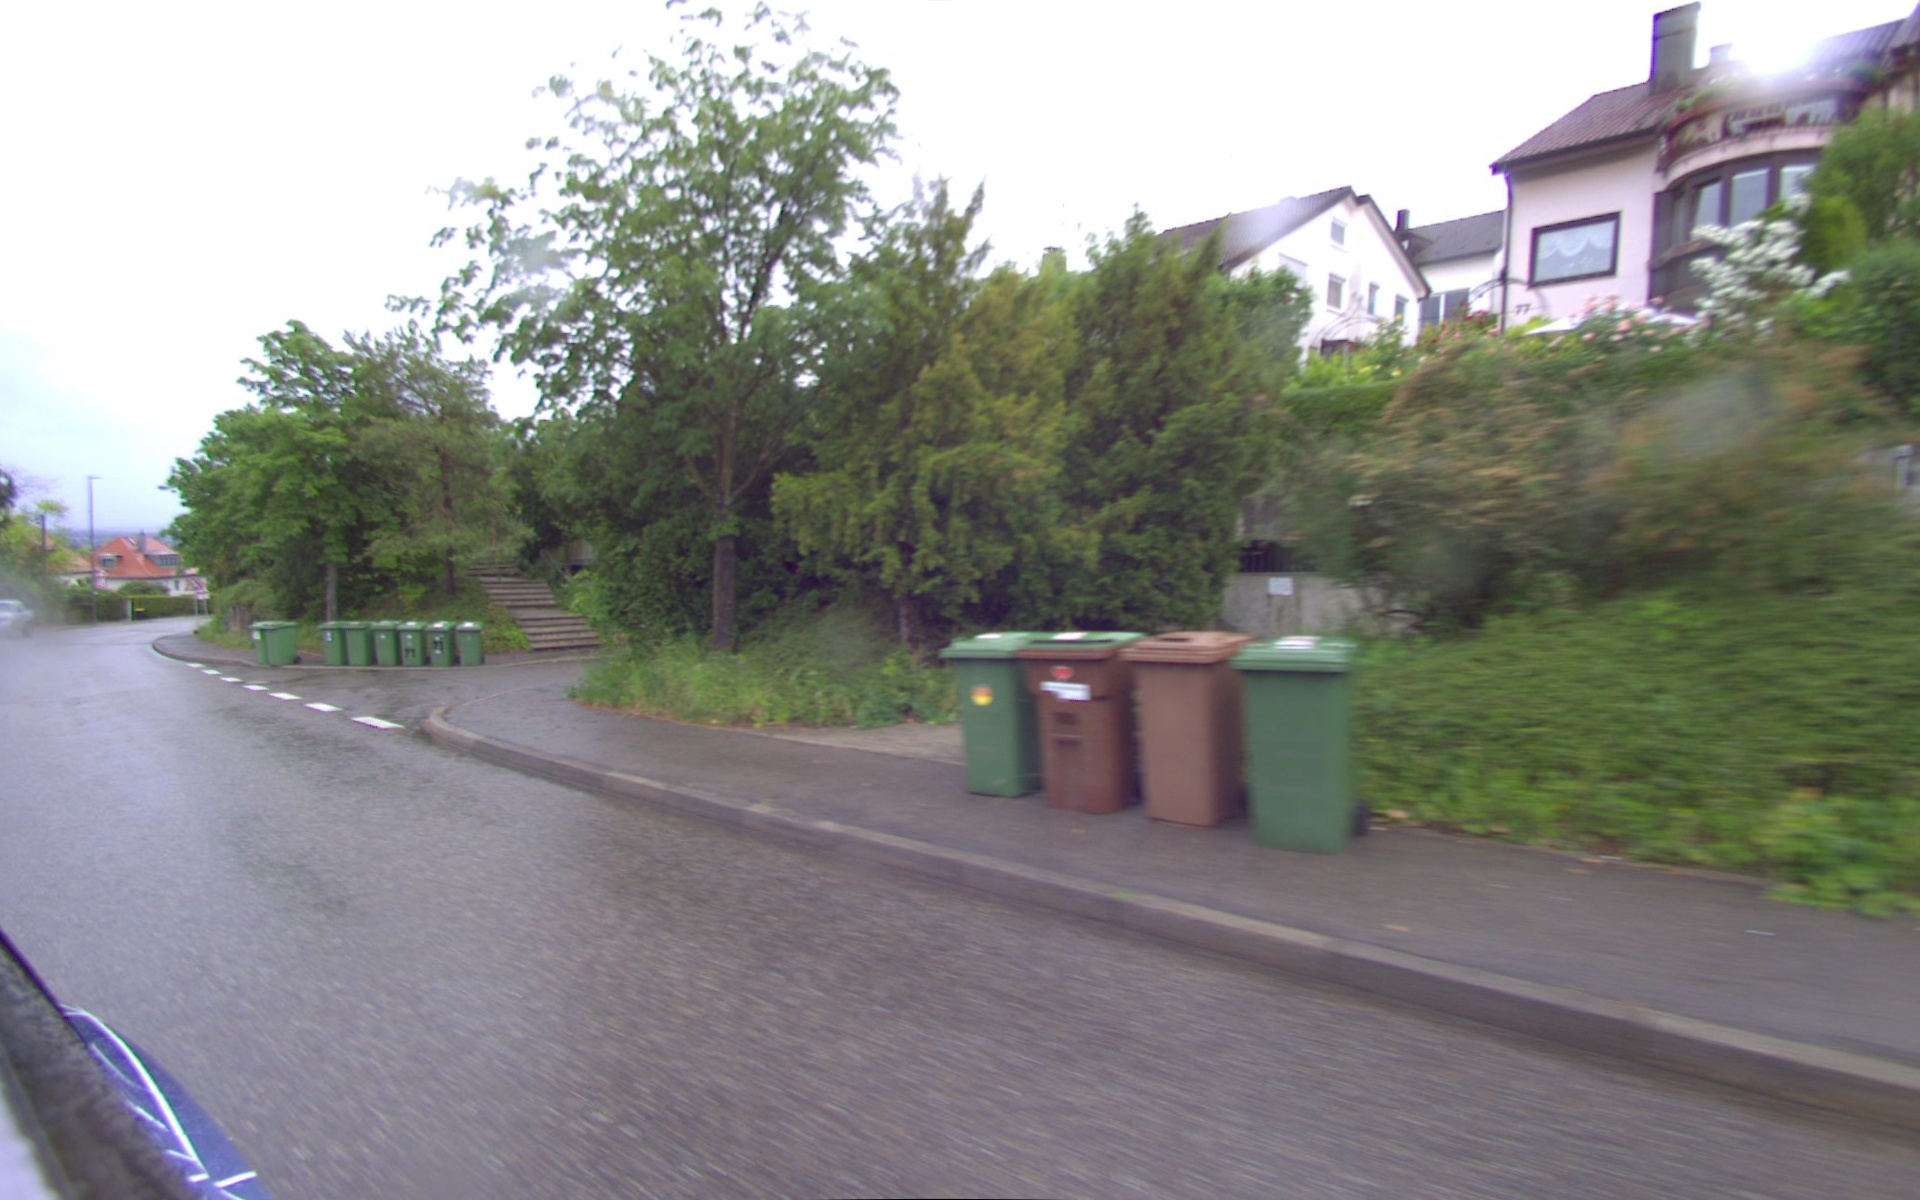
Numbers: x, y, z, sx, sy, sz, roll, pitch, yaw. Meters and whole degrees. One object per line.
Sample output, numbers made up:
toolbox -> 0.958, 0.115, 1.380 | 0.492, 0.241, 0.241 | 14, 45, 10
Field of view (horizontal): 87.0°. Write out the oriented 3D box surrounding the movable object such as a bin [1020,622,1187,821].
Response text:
movable object such as a bin -> 0.890, 0.697, 6.247 | 0.737, 1.105, 0.761 | -1, -1, 38

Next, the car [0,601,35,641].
car -> -45.753, 0.988, 48.076 | 1.839, 1.832, 4.875 | 0, -1, -33

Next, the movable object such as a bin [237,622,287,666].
movable object such as a bin -> -17.758, 1.105, 25.754 | 0.715, 1.035, 0.774 | -1, 2, 23

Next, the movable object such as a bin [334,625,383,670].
movable object such as a bin -> -14.948, 1.176, 25.170 | 0.709, 1.035, 0.780 | -1, 2, 1

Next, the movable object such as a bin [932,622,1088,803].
movable object such as a bin -> 0.340, 0.702, 6.758 | 0.737, 1.105, 0.761 | -1, -1, 38

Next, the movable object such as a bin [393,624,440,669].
movable object such as a bin -> -13.486, 1.155, 25.133 | 0.709, 1.035, 0.780 | -1, 2, 1

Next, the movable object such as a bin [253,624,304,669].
movable object such as a bin -> -17.102, 1.157, 25.411 | 0.715, 1.035, 0.774 | -1, 2, 23

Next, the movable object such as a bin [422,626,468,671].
movable object such as a bin -> -12.763, 1.191, 25.109 | 0.709, 1.035, 0.780 | -1, 2, 1

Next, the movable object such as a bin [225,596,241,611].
movable object such as a bin -> -51.248, 0.230, 71.305 | 0.867, 1.038, 0.805 | 0, -1, -33

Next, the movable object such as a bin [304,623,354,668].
movable object such as a bin -> -15.686, 1.130, 25.181 | 0.709, 1.035, 0.780 | -1, 2, 1

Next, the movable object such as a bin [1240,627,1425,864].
movable object such as a bin -> 1.916, 0.683, 5.187 | 0.690, 1.076, 0.761 | -1, -1, 38

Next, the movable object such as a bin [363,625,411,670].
movable object such as a bin -> -14.224, 1.168, 25.152 | 0.709, 1.035, 0.780 | -1, 2, 1

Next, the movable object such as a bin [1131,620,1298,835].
movable object such as a bin -> 1.455, 0.673, 5.764 | 0.671, 1.105, 0.761 | -1, -1, 38
